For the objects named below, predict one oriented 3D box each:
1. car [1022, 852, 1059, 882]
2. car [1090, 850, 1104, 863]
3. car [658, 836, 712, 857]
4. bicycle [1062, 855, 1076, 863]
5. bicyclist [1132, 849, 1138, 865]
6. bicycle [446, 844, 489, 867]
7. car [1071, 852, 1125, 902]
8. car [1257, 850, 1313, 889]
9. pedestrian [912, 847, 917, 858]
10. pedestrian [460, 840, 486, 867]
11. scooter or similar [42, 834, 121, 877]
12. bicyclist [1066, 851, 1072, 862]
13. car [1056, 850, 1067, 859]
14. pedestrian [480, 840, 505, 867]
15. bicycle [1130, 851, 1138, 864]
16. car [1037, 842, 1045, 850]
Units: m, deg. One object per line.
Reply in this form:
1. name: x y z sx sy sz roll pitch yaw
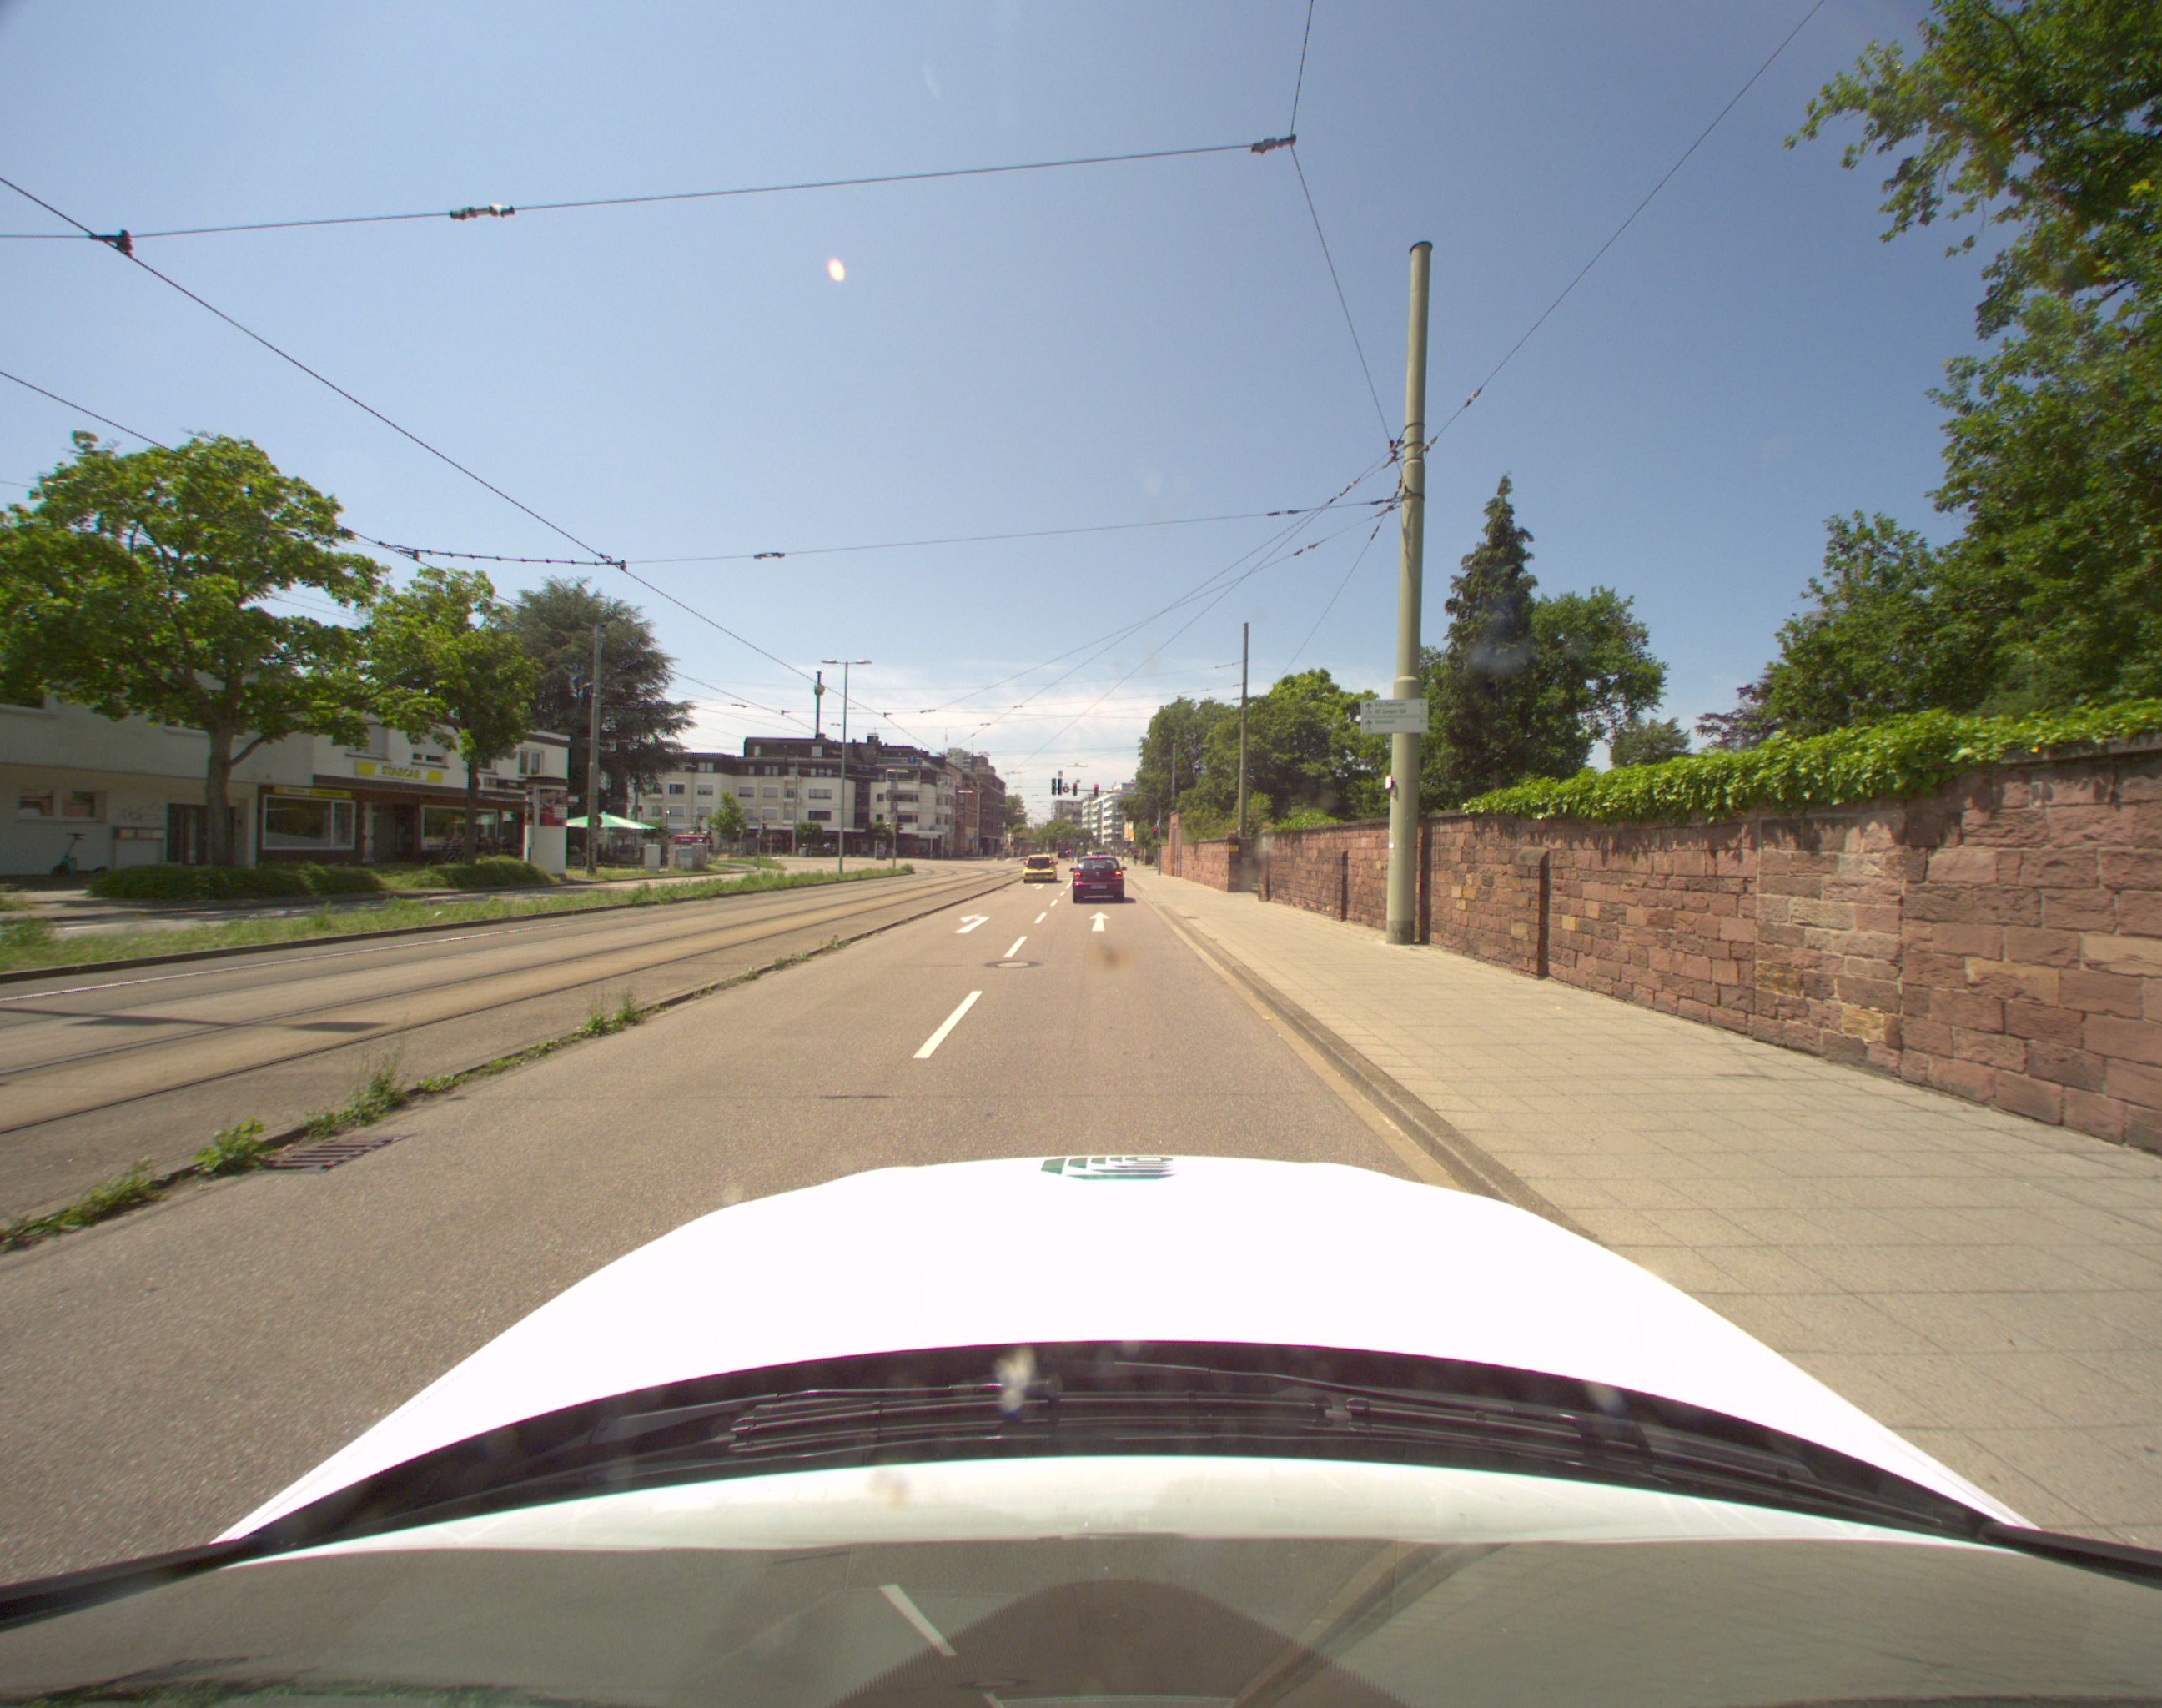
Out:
1. car: -2.097 0.669 42.712 1.717 1.445 3.293 -1 1 1
2. car: 1.886 0.249 94.667 1.567 1.415 3.720 -1 0 1
3. car: -44.901 -0.849 92.451 5.048 2.341 2.244 0 -1 -1
4. bicycle: -1.636 0.673 108.259 1.861 1.008 0.578 0 -1 -4
5. bicyclist: 6.401 0.377 97.101 0.719 1.818 0.889 0 -1 1
6. bicycle: -26.773 0.069 35.566 0.536 0.979 1.759 0 -1 2
7. car: 0.544 0.701 26.526 1.604 1.463 4.086 -1 0 1
8. car: 8.295 0.597 33.357 1.476 1.482 2.944 2 0 -1
9. pedestrian: -21.943 -0.196 107.344 0.479 1.541 0.541 -1 -1 27
10. pedestrian: -29.053 -0.003 38.932 0.587 1.268 0.842 0 -1 1
11. scooter or similar: -28.586 0.058 23.313 0.450 1.191 1.352 -1 -1 21
12. bicyclist: -1.612 0.310 108.304 0.764 1.406 0.506 0 -1 -3
13. car: -3.665 0.133 154.747 1.931 1.641 4.000 0 -1 1
14. pedestrian: -28.427 -0.029 39.339 0.587 1.268 0.842 0 -1 1
15. bicycle: 6.402 0.486 98.216 0.832 1.525 4.001 0 -1 2
16. car: -9.450 -1.906 192.145 1.728 2.013 4.001 1 0 1
